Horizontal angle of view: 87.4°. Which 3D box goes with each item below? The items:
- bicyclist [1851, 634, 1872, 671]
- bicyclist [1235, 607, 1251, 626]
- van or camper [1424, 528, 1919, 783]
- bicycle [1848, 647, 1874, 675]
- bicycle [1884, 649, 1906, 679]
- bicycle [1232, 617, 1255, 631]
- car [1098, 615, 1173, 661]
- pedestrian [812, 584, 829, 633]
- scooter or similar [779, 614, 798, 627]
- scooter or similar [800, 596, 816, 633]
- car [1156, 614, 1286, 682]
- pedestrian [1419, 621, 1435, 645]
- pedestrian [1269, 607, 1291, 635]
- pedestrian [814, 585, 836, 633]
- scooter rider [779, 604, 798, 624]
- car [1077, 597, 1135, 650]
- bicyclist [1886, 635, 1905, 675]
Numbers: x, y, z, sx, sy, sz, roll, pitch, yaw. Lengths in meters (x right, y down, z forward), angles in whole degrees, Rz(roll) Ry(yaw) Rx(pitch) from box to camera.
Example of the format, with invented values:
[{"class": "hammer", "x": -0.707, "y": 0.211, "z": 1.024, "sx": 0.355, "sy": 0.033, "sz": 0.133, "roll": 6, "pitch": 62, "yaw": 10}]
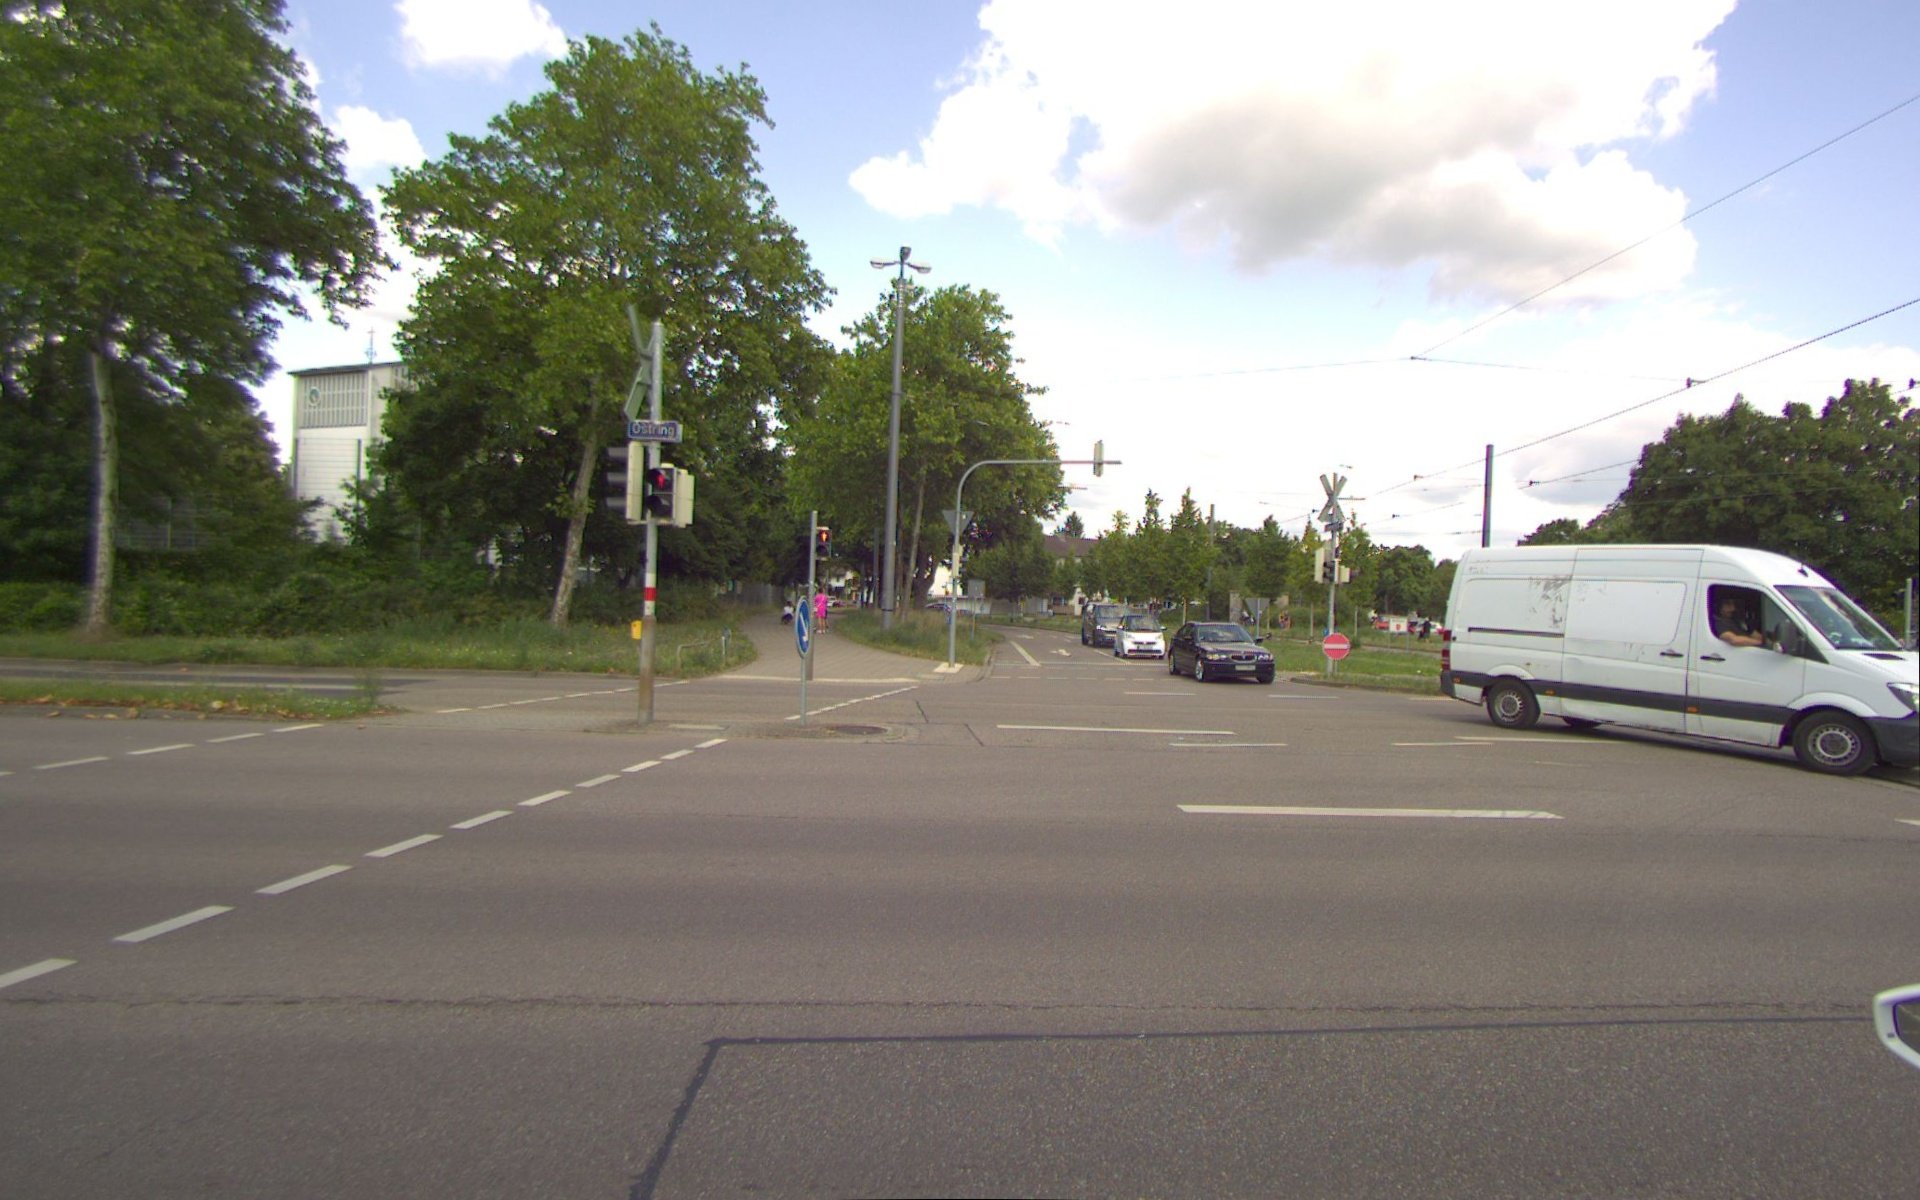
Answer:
[{"class": "bicyclist", "x": 38.831, "y": 2.261, "z": 43.268, "sx": 0.478, "sy": 1.574, "sz": 0.555, "roll": 3, "pitch": 1, "yaw": 32}, {"class": "bicyclist", "x": 23.318, "y": 1.389, "z": 82.754, "sx": 0.947, "sy": 1.509, "sz": 0.833, "roll": 2, "pitch": 0, "yaw": -16}, {"class": "van or camper", "x": 9.295, "y": 0.556, "z": 13.025, "sx": 1.957, "sy": 2.558, "sz": 5.996, "roll": 2, "pitch": 0, "yaw": -26}, {"class": "bicycle", "x": 38.848, "y": 2.609, "z": 43.320, "sx": 0.552, "sy": 1.145, "sz": 1.377, "roll": 2, "pitch": 0, "yaw": 31}, {"class": "bicycle", "x": 37.389, "y": 2.547, "z": 40.158, "sx": 1.371, "sy": 1.145, "sz": 0.555, "roll": 3, "pitch": 0, "yaw": -45}, {"class": "bicycle", "x": 23.338, "y": 1.944, "z": 82.732, "sx": 0.936, "sy": 1.054, "sz": 1.978, "roll": 2, "pitch": 0, "yaw": -15}, {"class": "car", "x": 6.250, "y": 1.321, "z": 36.217, "sx": 1.776, "sy": 1.450, "sz": 4.382, "roll": 2, "pitch": 0, "yaw": -1}, {"class": "pedestrian", "x": -4.795, "y": 0.293, "z": 34.613, "sx": 0.413, "sy": 1.641, "sz": 0.596, "roll": 1, "pitch": 0, "yaw": 6}, {"class": "scooter or similar", "x": -6.601, "y": 0.786, "z": 38.725, "sx": 0.599, "sy": 0.518, "sz": 0.857, "roll": 0, "pitch": 0, "yaw": -2}, {"class": "scooter or similar", "x": -5.233, "y": 0.498, "z": 34.575, "sx": 0.315, "sy": 1.248, "sz": 0.776, "roll": 0, "pitch": 0, "yaw": 8}, {"class": "car", "x": 6.220, "y": 1.119, "z": 24.471, "sx": 1.777, "sy": 1.450, "sz": 4.468, "roll": 2, "pitch": -2, "yaw": -3}, {"class": "pedestrian", "x": 27.989, "y": 1.968, "z": 60.199, "sx": 0.638, "sy": 1.372, "sz": 0.752, "roll": 0, "pitch": 0, "yaw": -2}, {"class": "pedestrian", "x": 23.994, "y": 1.577, "z": 75.396, "sx": 1.086, "sy": 2.040, "sz": 1.175, "roll": 2, "pitch": 0, "yaw": -8}, {"class": "pedestrian", "x": -4.738, "y": 0.312, "z": 35.296, "sx": 0.620, "sy": 1.641, "sz": 0.611, "roll": 1, "pitch": 0, "yaw": 6}, {"class": "scooter rider", "x": -6.607, "y": 0.542, "z": 38.724, "sx": 0.600, "sy": 0.738, "sz": 0.859, "roll": 0, "pitch": 0, "yaw": -1}, {"class": "car", "x": 6.451, "y": 1.018, "z": 44.815, "sx": 1.819, "sy": 2.184, "sz": 4.382, "roll": 2, "pitch": 0, "yaw": -1}, {"class": "bicyclist", "x": 37.428, "y": 2.190, "z": 40.173, "sx": 0.552, "sy": 1.574, "sz": 0.481, "roll": 4, "pitch": -1, "yaw": -44}]
